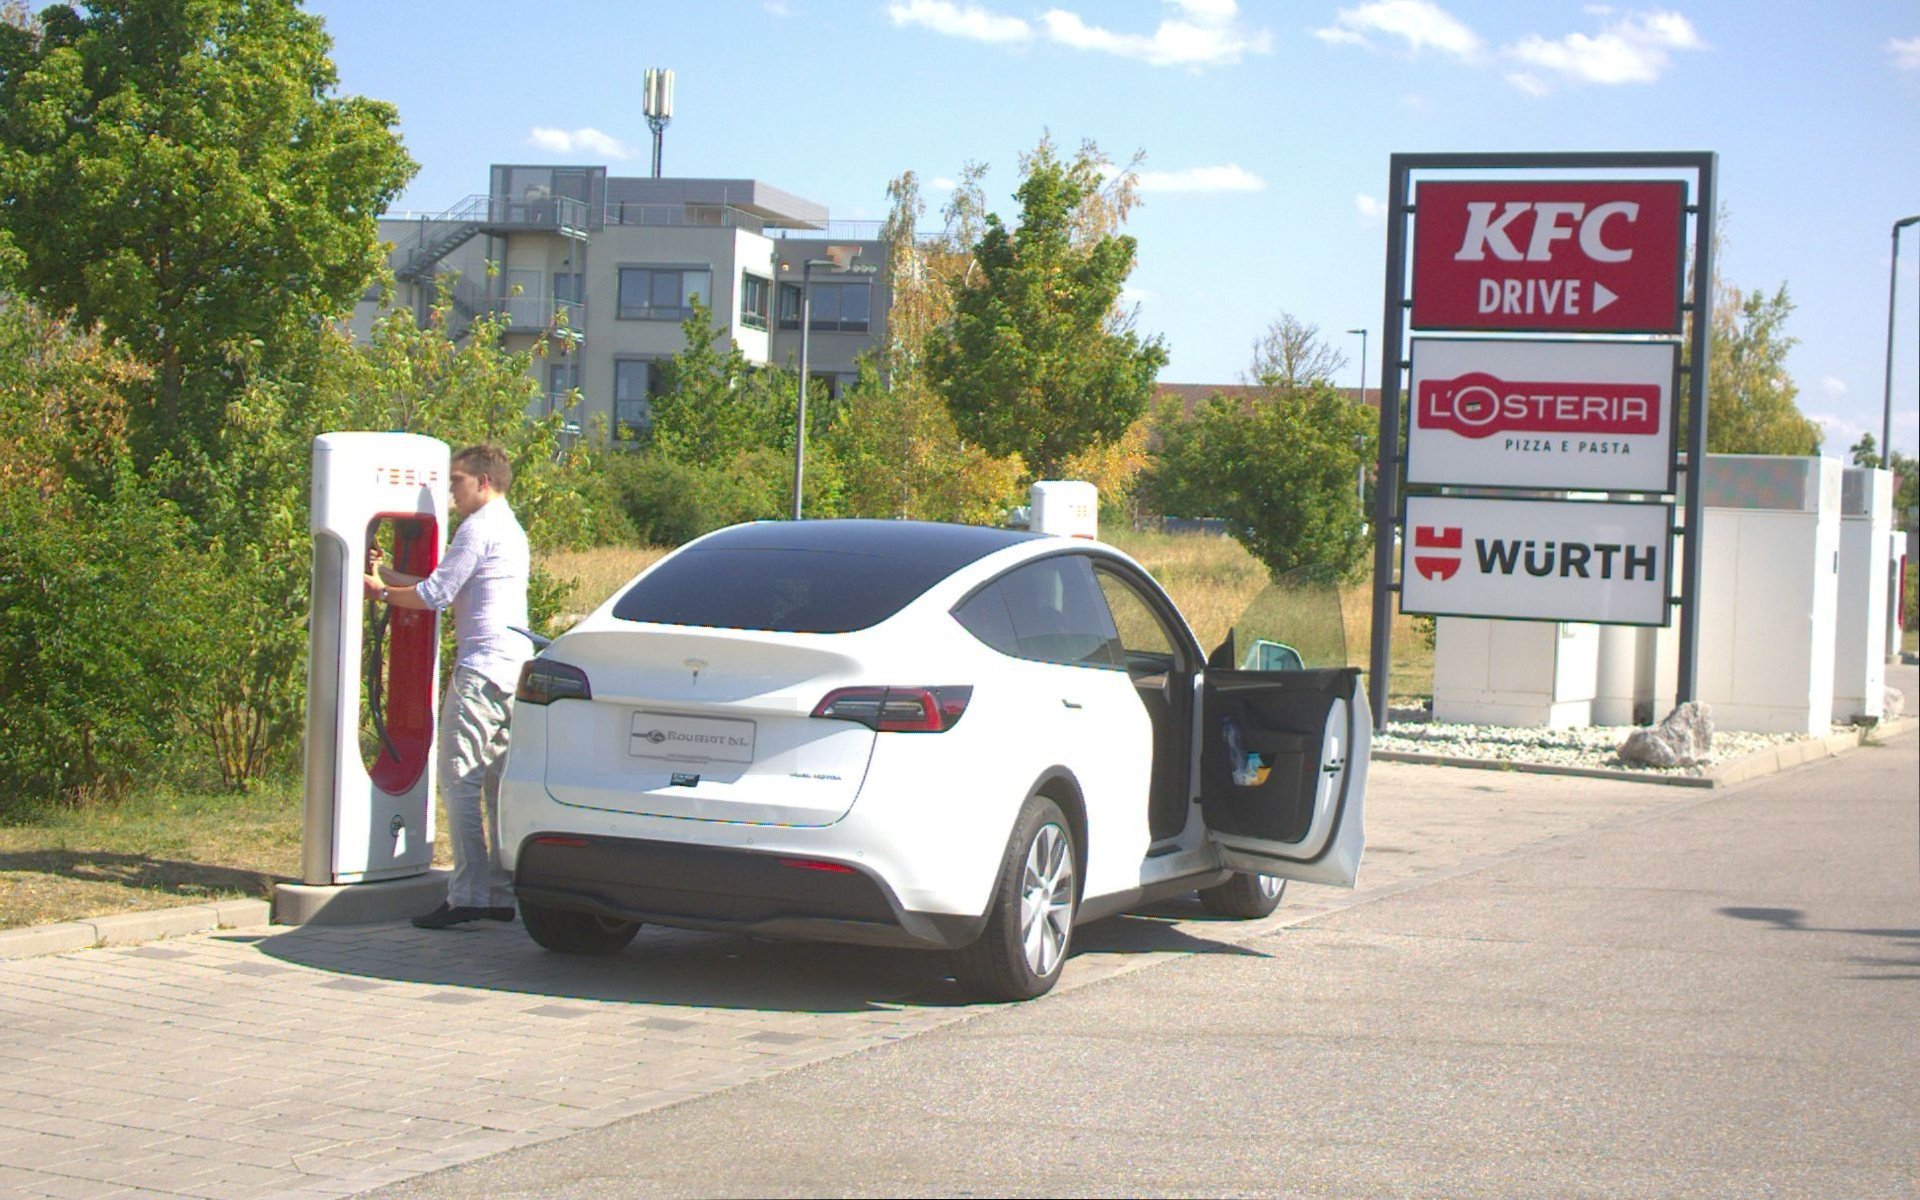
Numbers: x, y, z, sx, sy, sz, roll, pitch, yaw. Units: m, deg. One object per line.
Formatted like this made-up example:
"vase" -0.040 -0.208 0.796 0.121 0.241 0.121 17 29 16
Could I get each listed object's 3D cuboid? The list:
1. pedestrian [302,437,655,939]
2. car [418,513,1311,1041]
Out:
"pedestrian" -1.817 0.308 13.021 1.033 1.794 0.736 3 2 22
"car" -0.141 0.522 13.264 1.866 1.594 4.484 3 2 20
